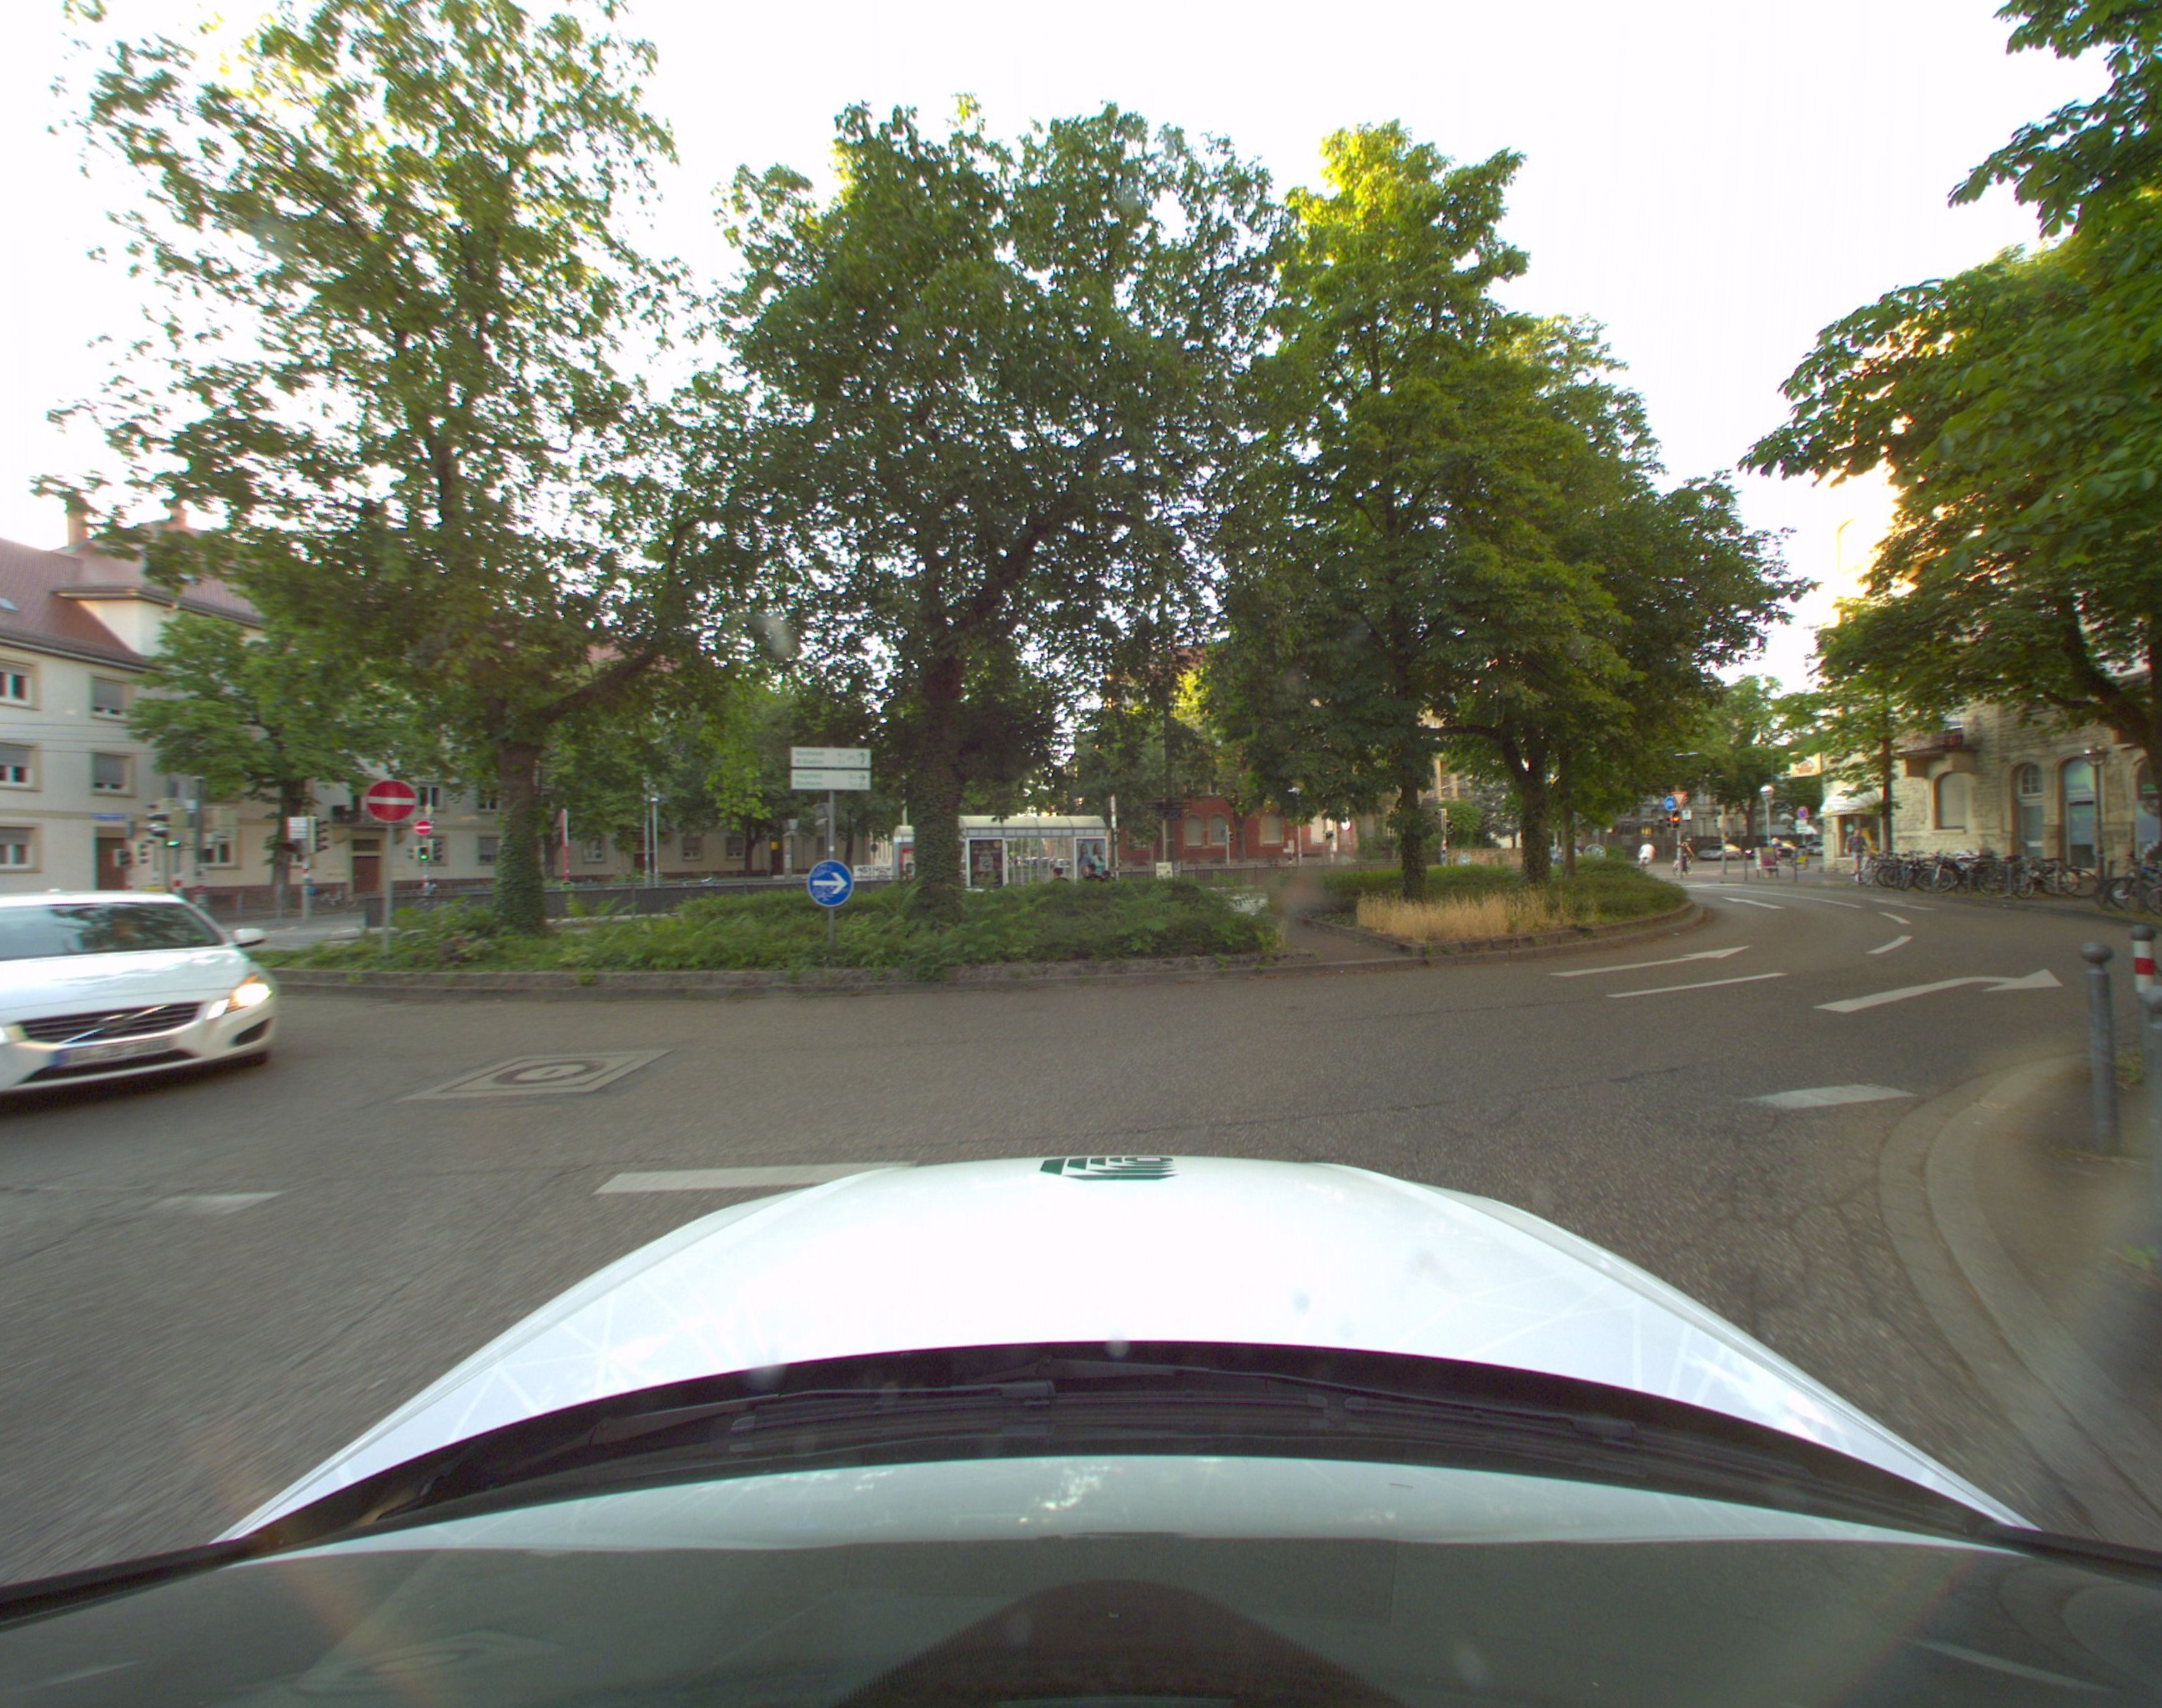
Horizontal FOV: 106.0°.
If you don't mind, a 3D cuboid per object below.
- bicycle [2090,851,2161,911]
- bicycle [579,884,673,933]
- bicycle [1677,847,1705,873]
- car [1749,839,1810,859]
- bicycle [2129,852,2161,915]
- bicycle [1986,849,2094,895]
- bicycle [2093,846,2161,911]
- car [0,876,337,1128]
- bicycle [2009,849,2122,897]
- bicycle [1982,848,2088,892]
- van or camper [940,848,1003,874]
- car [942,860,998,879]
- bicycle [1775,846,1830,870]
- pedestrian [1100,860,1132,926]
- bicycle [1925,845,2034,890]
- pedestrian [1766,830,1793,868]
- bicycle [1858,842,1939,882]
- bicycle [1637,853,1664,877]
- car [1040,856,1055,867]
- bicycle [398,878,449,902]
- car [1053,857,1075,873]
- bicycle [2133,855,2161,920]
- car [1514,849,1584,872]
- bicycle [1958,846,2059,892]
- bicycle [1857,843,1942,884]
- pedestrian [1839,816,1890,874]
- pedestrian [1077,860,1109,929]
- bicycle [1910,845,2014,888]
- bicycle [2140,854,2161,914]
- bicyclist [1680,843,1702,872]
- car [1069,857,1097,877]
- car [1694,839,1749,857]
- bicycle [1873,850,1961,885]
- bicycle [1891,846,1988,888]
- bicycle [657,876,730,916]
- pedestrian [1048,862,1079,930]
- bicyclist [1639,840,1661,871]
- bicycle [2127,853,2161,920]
[{"bbox_3d":[21.110,0.521,15.801,1.861,1.139,0.495,0,4,27],"label":"bicycle"},{"bbox_3d":[-11.976,1.420,21.520,2.120,1.151,0.680,-1,0,-28],"label":"bicycle"},{"bbox_3d":[31.235,0.305,41.715,1.872,1.236,0.692,-1,0,-39],"label":"bicycle"},{"bbox_3d":[57.419,-0.393,66.907,4.637,1.510,1.935,-1,0,-23],"label":"car"},{"bbox_3d":[20.323,0.526,14.581,1.831,1.144,0.421,-2,-1,40],"label":"bicycle"},{"bbox_3d":[23.376,0.452,19.881,1.655,1.078,0.489,-2,-1,22],"label":"bicycle"},{"bbox_3d":[20.810,0.477,15.477,1.861,1.217,0.495,-2,-7,40],"label":"bicycle"},{"bbox_3d":[-8.450,0.998,6.896,4.778,1.517,2.013,-2,0,33],"label":"car"},{"bbox_3d":[23.343,0.454,19.334,1.655,1.078,0.489,-2,-1,22],"label":"bicycle"},{"bbox_3d":[24.162,0.422,20.660,1.654,1.078,0.489,-2,-1,30],"label":"bicycle"},{"bbox_3d":[-12.978,0.850,96.728,7.364,3.083,2.665,0,-1,-10],"label":"van or camper"},{"bbox_3d":[-10.124,1.382,74.221,4.949,1.704,1.994,0,-1,-10],"label":"car"},{"bbox_3d":[35.508,0.194,40.101,1.854,1.130,0.736,-2,-1,28],"label":"bicycle"},{"bbox_3d":[0.764,0.852,18.133,0.615,1.431,0.654,-1,0,-4],"label":"pedestrian"},{"bbox_3d":[24.602,0.375,22.339,1.868,1.162,0.708,-2,-1,24],"label":"bicycle"},{"bbox_3d":[33.789,-0.240,39.406,0.859,1.794,0.930,-2,0,35],"label":"pedestrian"},{"bbox_3d":[26.759,0.267,26.680,1.775,1.236,0.653,-2,-1,11],"label":"bicycle"},{"bbox_3d":[25.988,0.479,37.190,0.691,1.055,1.803,-2,0,25],"label":"bicycle"},{"bbox_3d":[-5.139,1.144,122.760,1.991,1.704,4.710,0,0,-6],"label":"car"},{"bbox_3d":[-34.666,1.907,42.957,0.677,1.151,1.931,-2,0,29],"label":"bicycle"},{"bbox_3d":[-1.895,1.136,87.386,1.991,1.704,4.710,0,0,-6],"label":"car"},{"bbox_3d":[19.830,0.583,14.103,1.831,1.093,0.421,-2,-20,40],"label":"bicycle"},{"bbox_3d":[32.356,0.438,56.274,4.424,1.510,1.935,-1,0,-23],"label":"car"},{"bbox_3d":[23.994,0.396,21.099,1.654,1.127,0.489,-2,6,31],"label":"bicycle"},{"bbox_3d":[25.930,0.307,25.833,1.774,1.236,0.702,-2,-1,13],"label":"bicycle"},{"bbox_3d":[28.874,-0.324,30.027,1.001,2.085,1.067,-2,0,26],"label":"pedestrian"},{"bbox_3d":[0.254,0.867,17.672,0.615,1.431,0.654,-1,0,-4],"label":"pedestrian"},{"bbox_3d":[24.887,0.370,23.050,1.868,1.162,0.644,-2,-1,24],"label":"bicycle"},{"bbox_3d":[20.822,0.531,14.848,1.835,1.104,0.576,-2,-1,17],"label":"bicycle"},{"bbox_3d":[31.229,0.173,41.710,0.788,1.461,0.692,-1,0,-39],"label":"bicyclist"},{"bbox_3d":[0.153,1.133,71.206,1.991,1.704,4.710,0,0,-6],"label":"car"},{"bbox_3d":[56.305,-0.520,71.565,4.642,1.426,1.992,-1,0,-27],"label":"car"},{"bbox_3d":[25.646,0.408,25.009,1.788,1.038,0.702,-2,-1,13],"label":"bicycle"},{"bbox_3d":[25.048,0.371,23.788,1.872,1.162,0.643,-2,-1,13],"label":"bicycle"},{"bbox_3d":[-11.107,1.180,23.360,1.859,1.051,0.542,-1,0,-27],"label":"bicycle"},{"bbox_3d":[-0.395,0.897,17.628,0.615,1.431,0.654,-1,0,-4],"label":"pedestrian"},{"bbox_3d":[25.979,0.066,37.195,0.691,1.411,0.870,-2,0,26],"label":"bicyclist"},{"bbox_3d":[20.001,0.576,14.323,1.831,1.131,0.421,-2,-20,40],"label":"bicycle"}]
